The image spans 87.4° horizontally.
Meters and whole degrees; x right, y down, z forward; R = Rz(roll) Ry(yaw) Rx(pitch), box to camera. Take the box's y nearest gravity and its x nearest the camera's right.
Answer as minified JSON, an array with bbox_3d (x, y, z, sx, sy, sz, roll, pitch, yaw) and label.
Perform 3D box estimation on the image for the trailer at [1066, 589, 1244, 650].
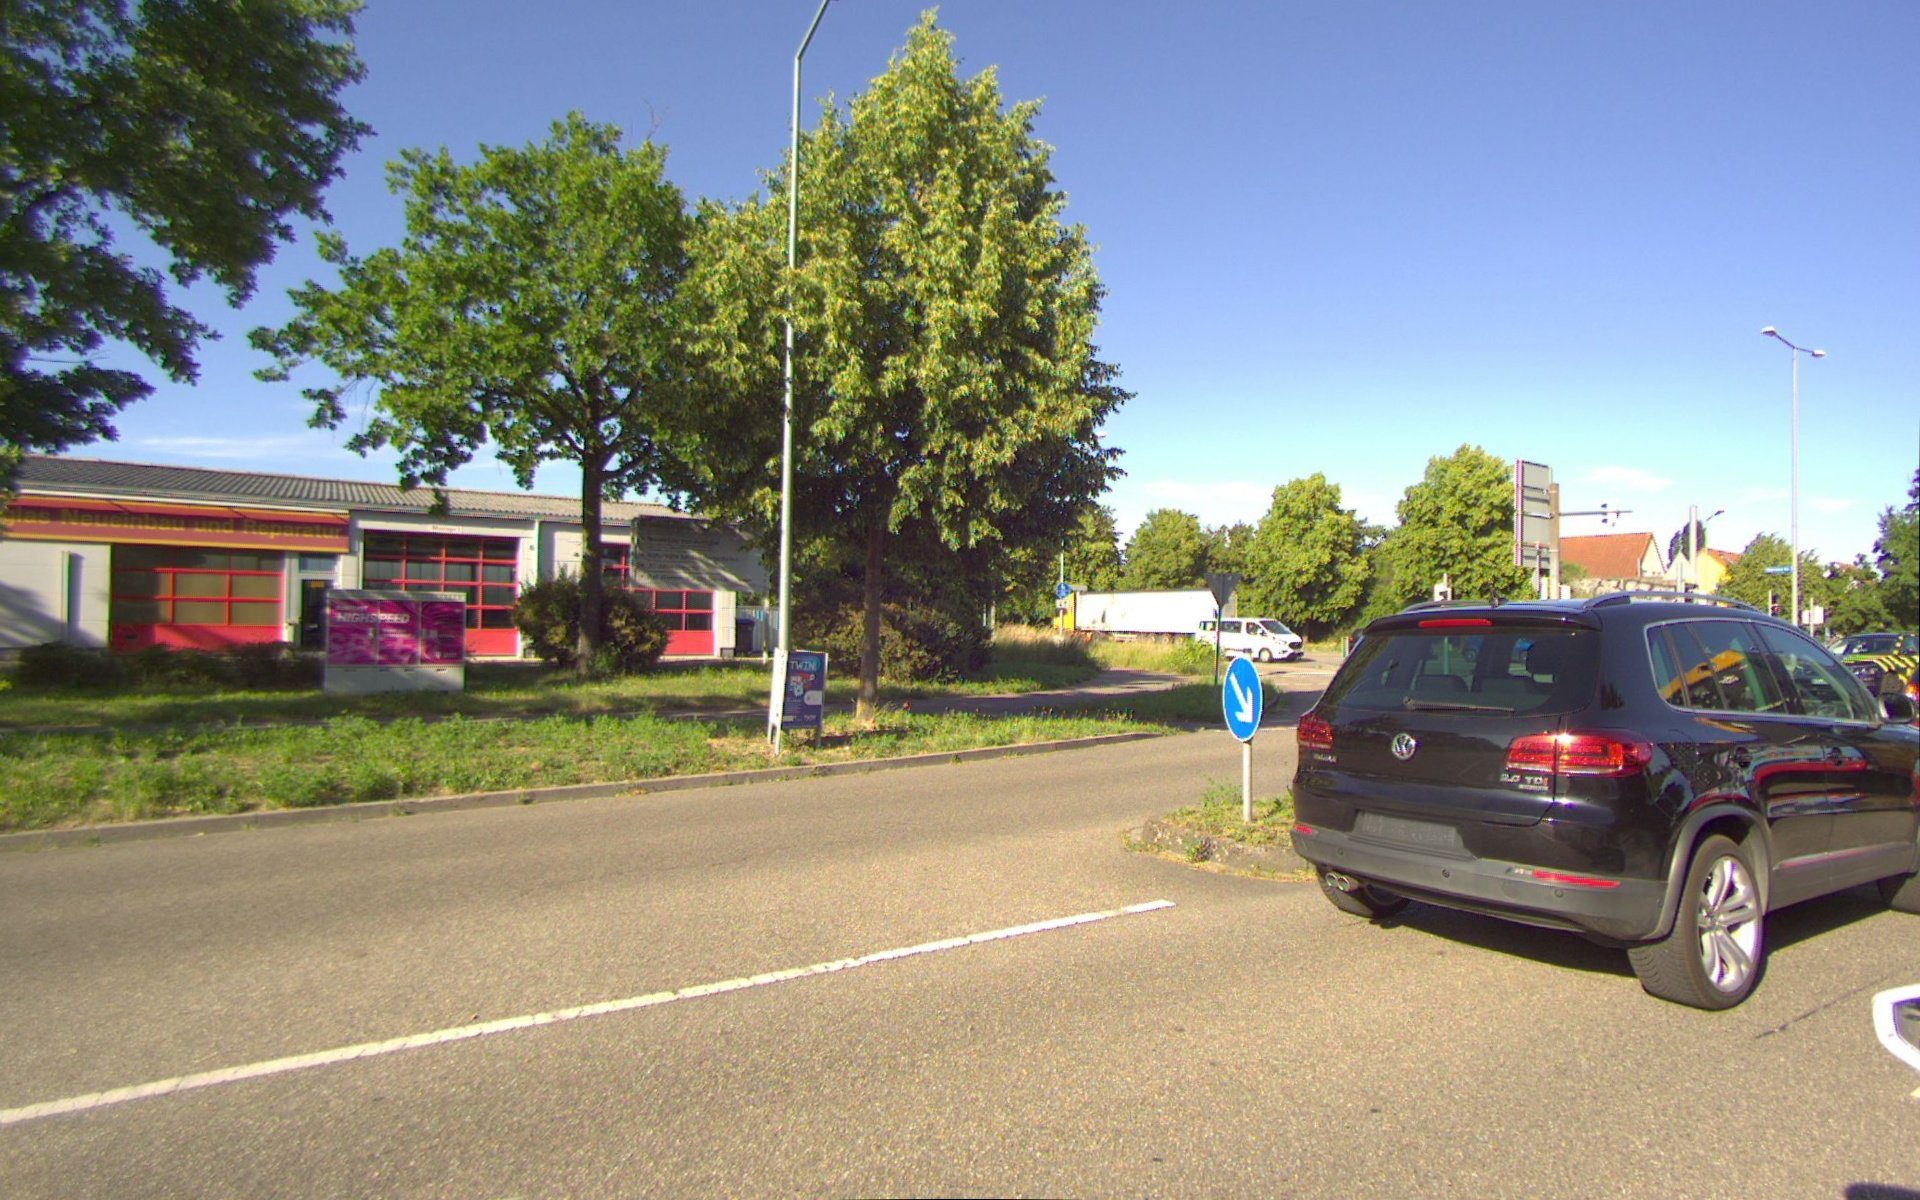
[{"bbox_3d":[13.859,1.404,73.569,3.406,4.066,14.560,1,-1,-35],"label":"trailer"}]

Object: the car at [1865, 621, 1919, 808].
[{"bbox_3d":[10.231,1.006,9.218,3.954,1.610,1.753,1,-3,-31],"label":"car"}]

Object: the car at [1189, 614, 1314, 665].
[{"bbox_3d":[13.352,1.780,46.302,2.160,2.146,5.350,2,-1,-35],"label":"car"}]

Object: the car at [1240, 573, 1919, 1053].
[{"bbox_3d":[3.553,0.821,5.317,3.954,1.675,1.763,1,-3,-31],"label":"car"}]

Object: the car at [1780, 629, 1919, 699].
[{"bbox_3d":[21.746,1.501,23.931,4.023,1.546,1.759,1,-3,-24],"label":"car"}]

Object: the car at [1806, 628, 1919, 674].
[{"bbox_3d":[36.808,2.039,40.538,1.691,1.634,3.781,2,0,-35],"label":"car"}]

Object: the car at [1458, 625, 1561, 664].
[{"bbox_3d":[23.759,1.902,43.498,1.733,1.581,3.559,2,-2,-35],"label":"car"}]

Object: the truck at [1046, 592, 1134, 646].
[{"bbox_3d":[10.112,1.466,78.916,3.407,4.066,6.433,1,-1,-35],"label":"truck"}]
